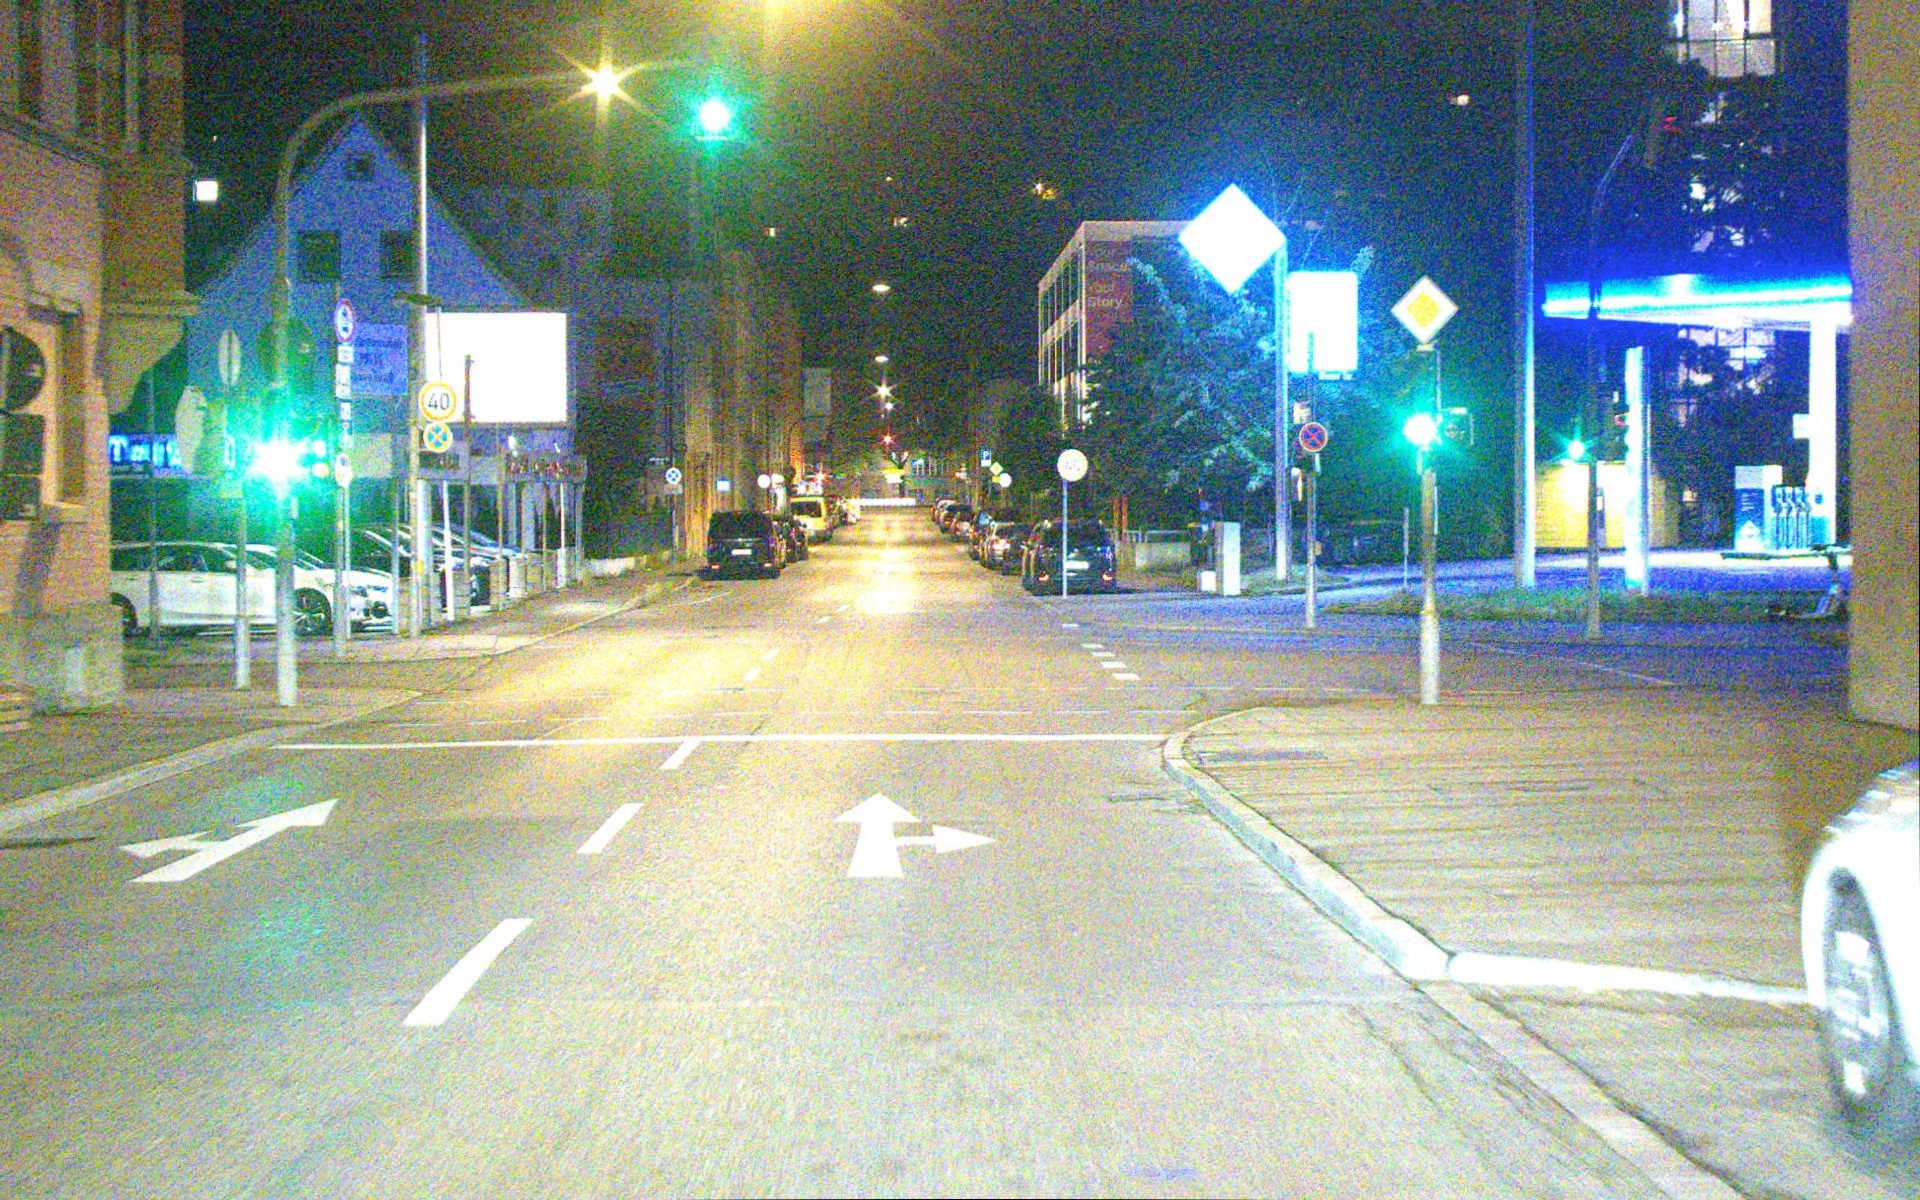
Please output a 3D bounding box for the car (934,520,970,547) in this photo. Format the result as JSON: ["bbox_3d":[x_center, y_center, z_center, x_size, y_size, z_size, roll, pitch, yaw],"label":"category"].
[{"bbox_3d":[-0.452,-3.758,194.490,1.993,1.515,4.000,0,0,1],"label":"car"}]

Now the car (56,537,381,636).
[{"bbox_3d":[-10.991,-0.200,51.197,4.438,1.444,2.000,0,0,-1],"label":"car"}]

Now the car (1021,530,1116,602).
[{"bbox_3d":[2.346,-0.763,75.285,1.993,1.511,4.000,1,1,1],"label":"car"}]

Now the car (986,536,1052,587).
[{"bbox_3d":[1.804,-1.184,106.198,1.993,1.515,4.000,0,0,1],"label":"car"}]

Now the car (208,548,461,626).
[{"bbox_3d":[-11.736,-0.255,64.723,4.438,1.444,2.000,0,0,-1],"label":"car"}]

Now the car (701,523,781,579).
[{"bbox_3d":[-5.938,-1.333,93.667,1.993,1.497,4.000,0,0,-1],"label":"car"}]

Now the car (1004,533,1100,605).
[{"bbox_3d":[2.123,-0.745,80.322,1.993,1.590,4.001,1,1,-2],"label":"car"}]

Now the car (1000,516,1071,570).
[{"bbox_3d":[2.147,-1.635,99.148,1.993,1.515,4.000,0,0,1],"label":"car"}]

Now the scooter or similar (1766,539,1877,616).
[{"bbox_3d":[12.758,-0.341,50.903,1.675,1.088,0.716,-2,2,-38],"label":"scooter or similar"}]

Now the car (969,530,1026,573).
[{"bbox_3d":[1.349,-1.720,123.479,1.993,1.515,4.000,0,0,1],"label":"car"}]

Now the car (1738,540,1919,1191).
[{"bbox_3d":[3.162,0.612,7.069,1.859,1.484,4.547,0,0,-3],"label":"car"}]

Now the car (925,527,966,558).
[{"bbox_3d":[-0.703,-2.848,171.444,1.993,1.515,4.000,0,0,1],"label":"car"}]

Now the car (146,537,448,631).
[{"bbox_3d":[-10.456,-0.256,54.461,4.438,1.444,2.000,0,0,-2],"label":"car"}]
